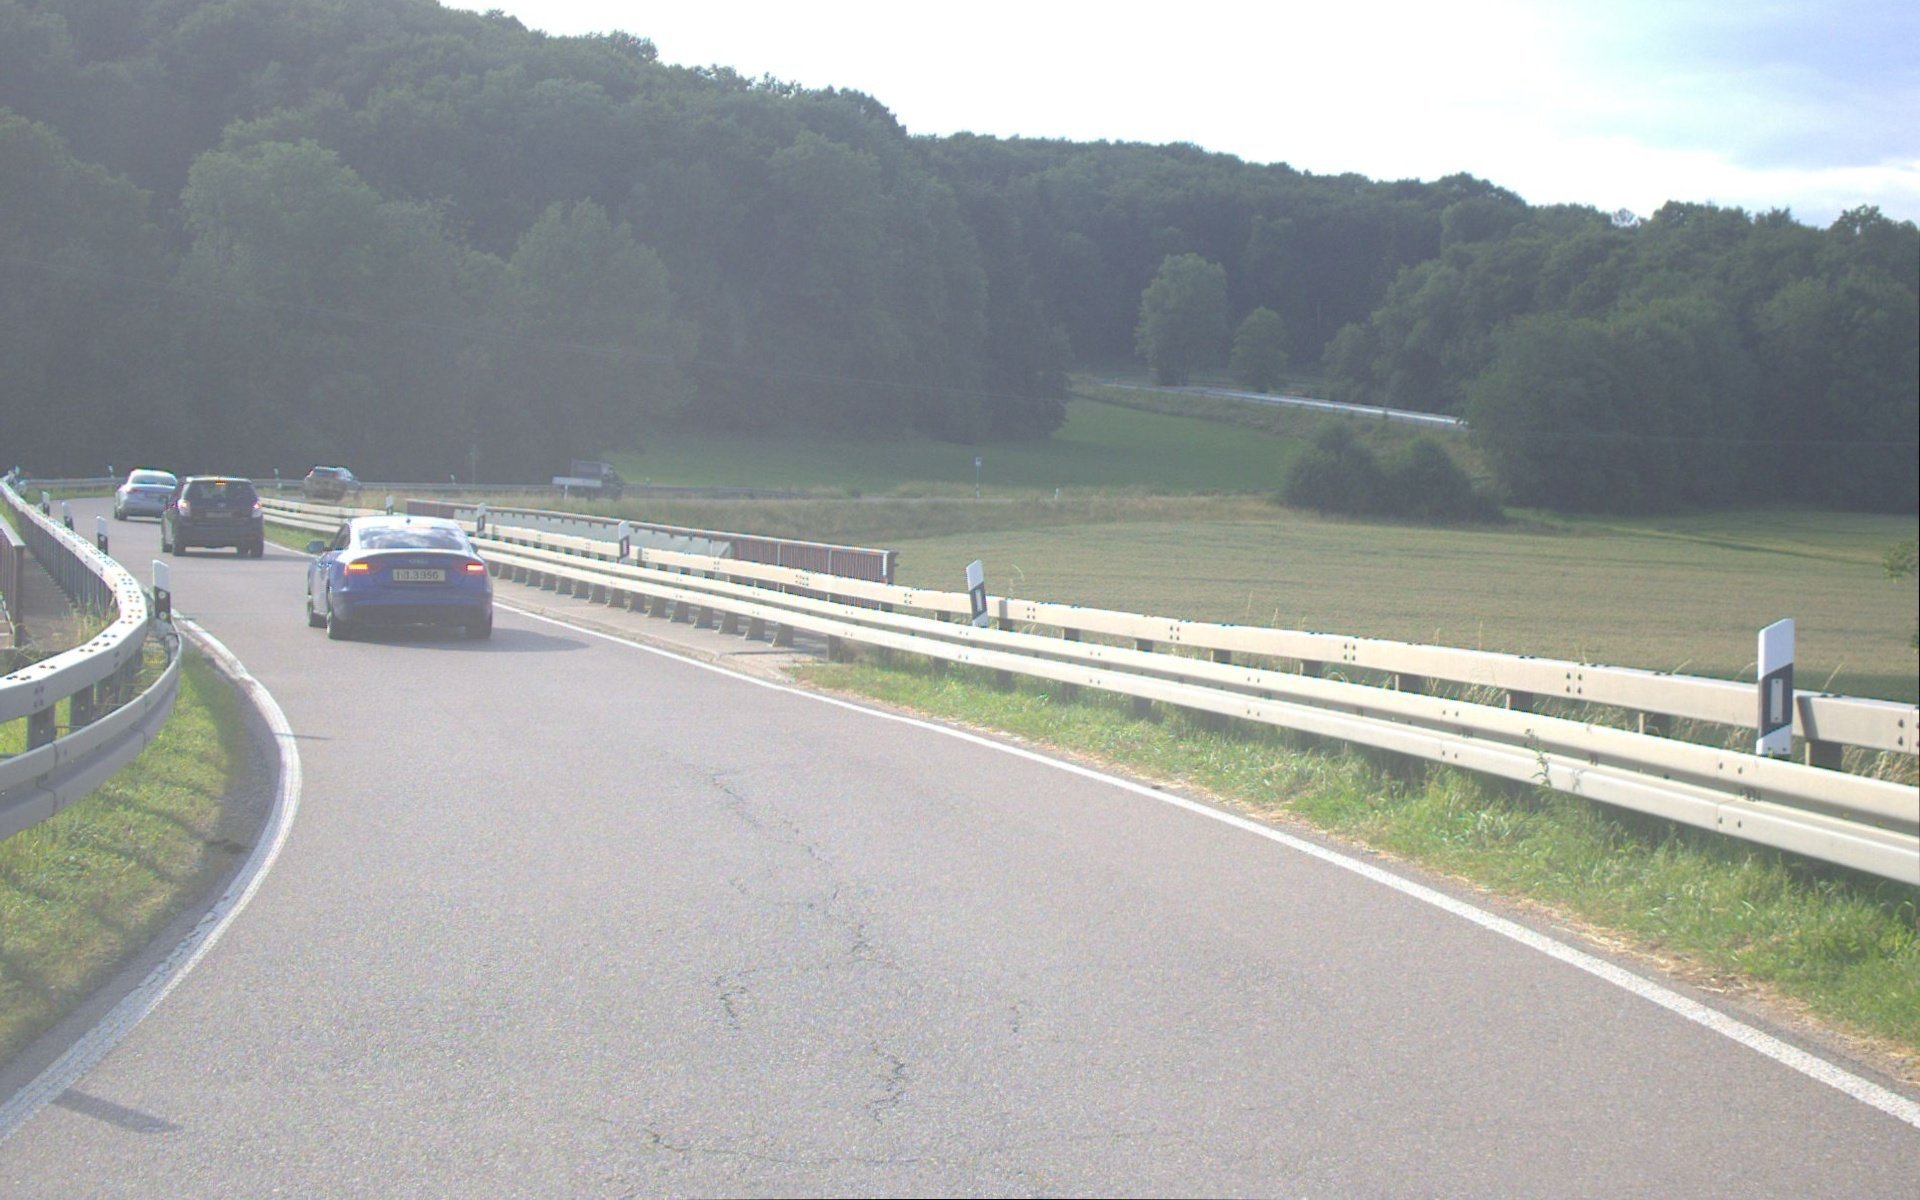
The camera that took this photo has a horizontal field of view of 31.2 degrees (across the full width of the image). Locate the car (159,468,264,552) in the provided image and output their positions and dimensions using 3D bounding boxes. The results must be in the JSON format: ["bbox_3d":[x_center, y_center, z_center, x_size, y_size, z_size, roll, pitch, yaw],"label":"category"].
[{"bbox_3d":[-15.239,-1.843,69.866,1.861,1.563,4.002,2,1,-14],"label":"car"}]

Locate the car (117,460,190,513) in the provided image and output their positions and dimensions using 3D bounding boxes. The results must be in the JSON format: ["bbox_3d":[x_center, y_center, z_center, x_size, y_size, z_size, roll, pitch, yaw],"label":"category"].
[{"bbox_3d":[-22.863,-3.227,97.410,1.682,1.371,4.002,2,2,-17],"label":"car"}]

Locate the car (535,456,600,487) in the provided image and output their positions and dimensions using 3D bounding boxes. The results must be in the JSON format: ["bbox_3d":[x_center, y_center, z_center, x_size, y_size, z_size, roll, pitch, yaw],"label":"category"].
[{"bbox_3d":[-23.033,-7.543,201.929,1.996,1.765,3.995,1,2,25],"label":"car"}]

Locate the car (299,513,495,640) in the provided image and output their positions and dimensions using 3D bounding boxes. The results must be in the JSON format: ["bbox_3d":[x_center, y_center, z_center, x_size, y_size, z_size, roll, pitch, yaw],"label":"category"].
[{"bbox_3d":[-6.599,-0.307,39.945,1.818,1.334,4.352,2,1,-15],"label":"car"}]

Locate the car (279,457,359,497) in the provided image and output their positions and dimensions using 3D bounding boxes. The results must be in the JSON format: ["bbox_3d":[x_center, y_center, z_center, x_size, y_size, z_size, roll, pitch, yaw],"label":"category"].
[{"bbox_3d":[-31.511,-6.048,169.093,1.995,1.673,4.174,4,1,18],"label":"car"}]
